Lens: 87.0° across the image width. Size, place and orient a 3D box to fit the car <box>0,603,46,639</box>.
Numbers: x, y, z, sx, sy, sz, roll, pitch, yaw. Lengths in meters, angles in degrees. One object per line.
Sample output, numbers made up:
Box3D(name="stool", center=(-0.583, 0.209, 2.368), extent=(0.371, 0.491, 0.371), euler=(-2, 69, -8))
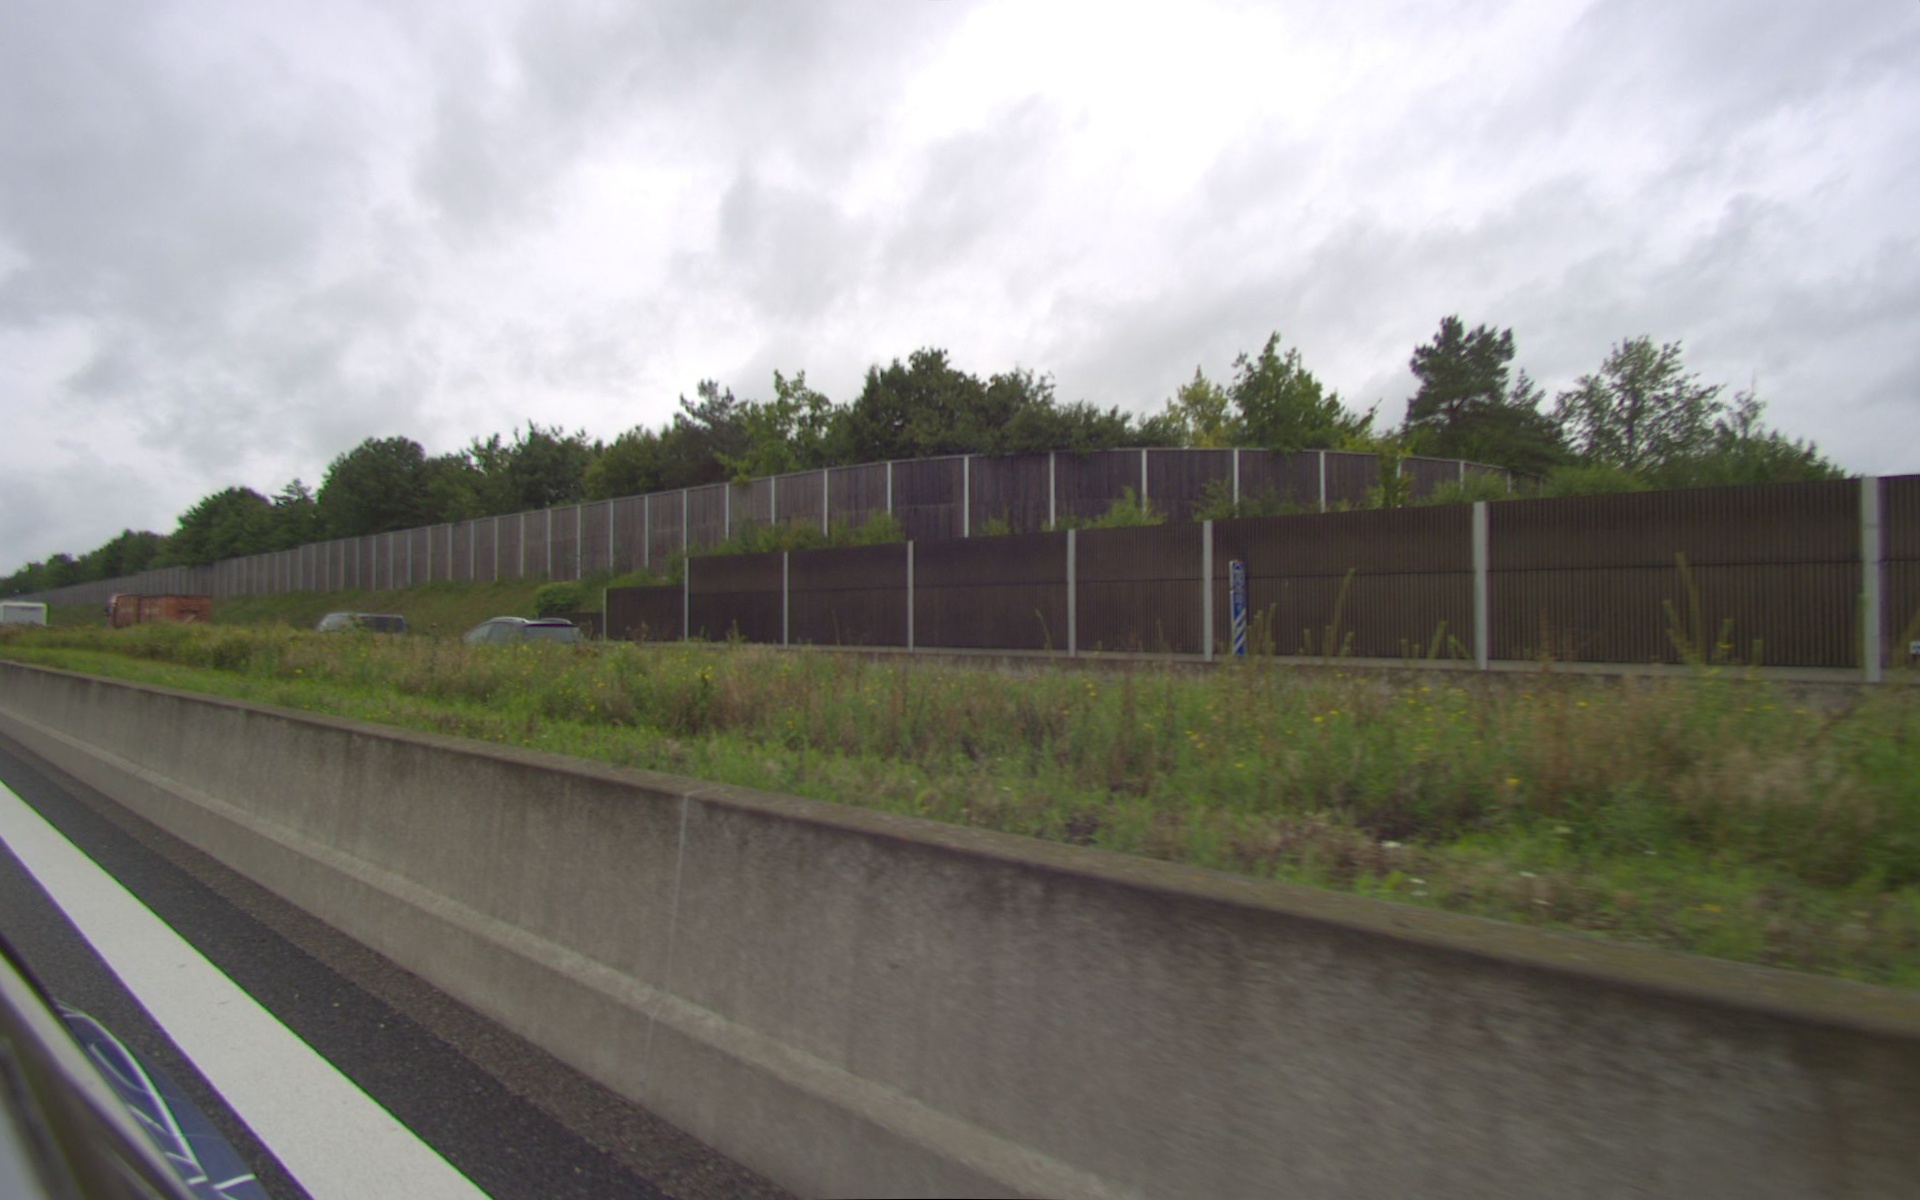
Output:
Box3D(name="car", center=(-61.724, 1.352, 65.908), extent=(7.720, 2.209, 2.349), euler=(-1, -1, 41))

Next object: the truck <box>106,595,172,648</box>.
Box3D(name="truck", center=(-60.750, 1.549, 74.831), extent=(6.477, 3.734, 2.668), euler=(-1, 0, 41))

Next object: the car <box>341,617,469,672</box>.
Box3D(name="car", center=(-17.229, 1.327, 31.320), extent=(4.767, 1.552, 1.973), euler=(-1, 0, 41))

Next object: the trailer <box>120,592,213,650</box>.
Box3D(name="trailer", center=(-54.762, 1.472, 69.660), extent=(12.556, 3.712, 2.698), euler=(-1, -2, 41))
